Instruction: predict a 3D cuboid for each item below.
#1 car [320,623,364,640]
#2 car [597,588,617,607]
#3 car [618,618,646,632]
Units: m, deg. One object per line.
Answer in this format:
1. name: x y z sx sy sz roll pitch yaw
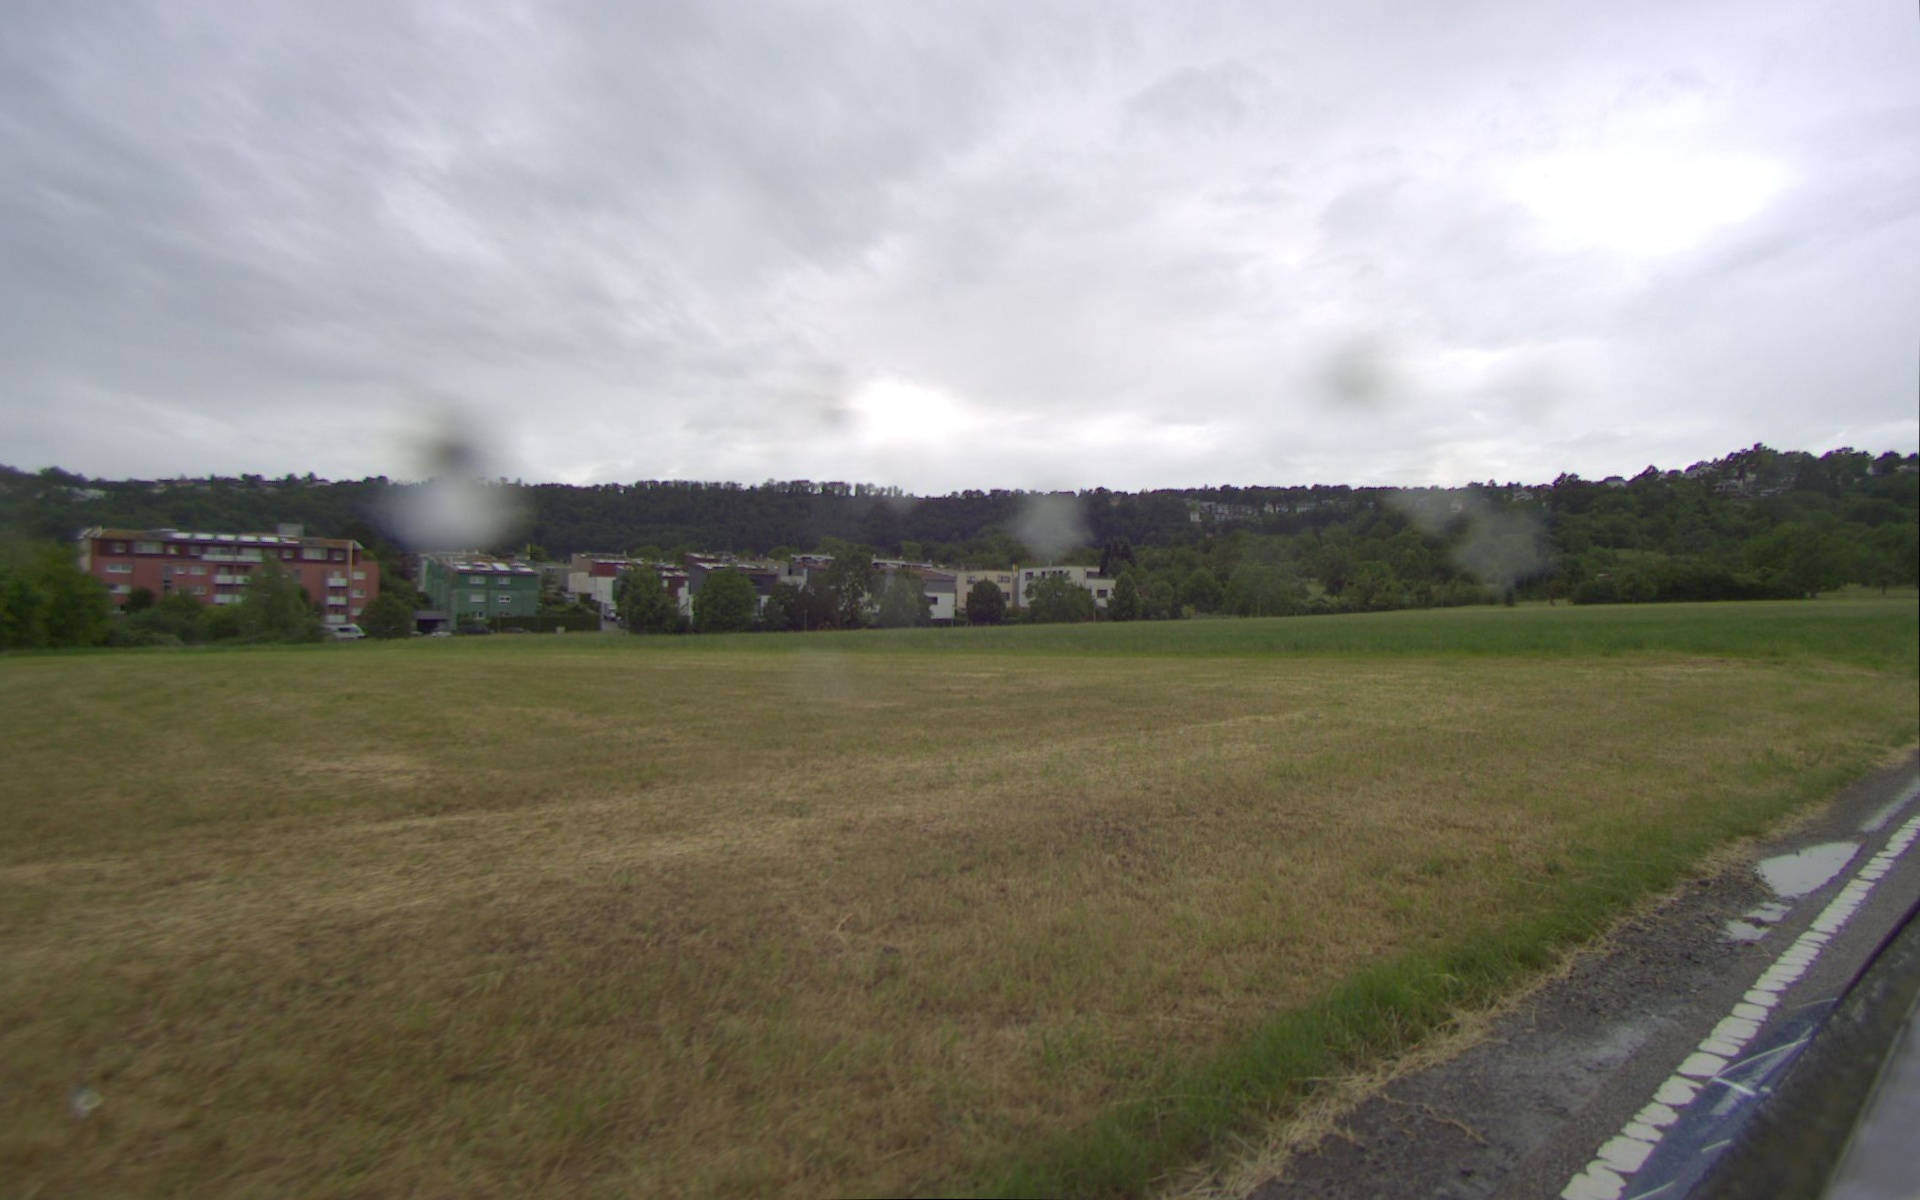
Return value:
1. car: -86.429 4.354 141.675 5.177 2.039 2.001 -2 1 -32
2. car: -62.631 -0.406 179.635 2.099 3.265 5.090 -1 1 -33
3. car: -54.228 4.113 167.433 3.925 2.039 2.000 0 0 -36
